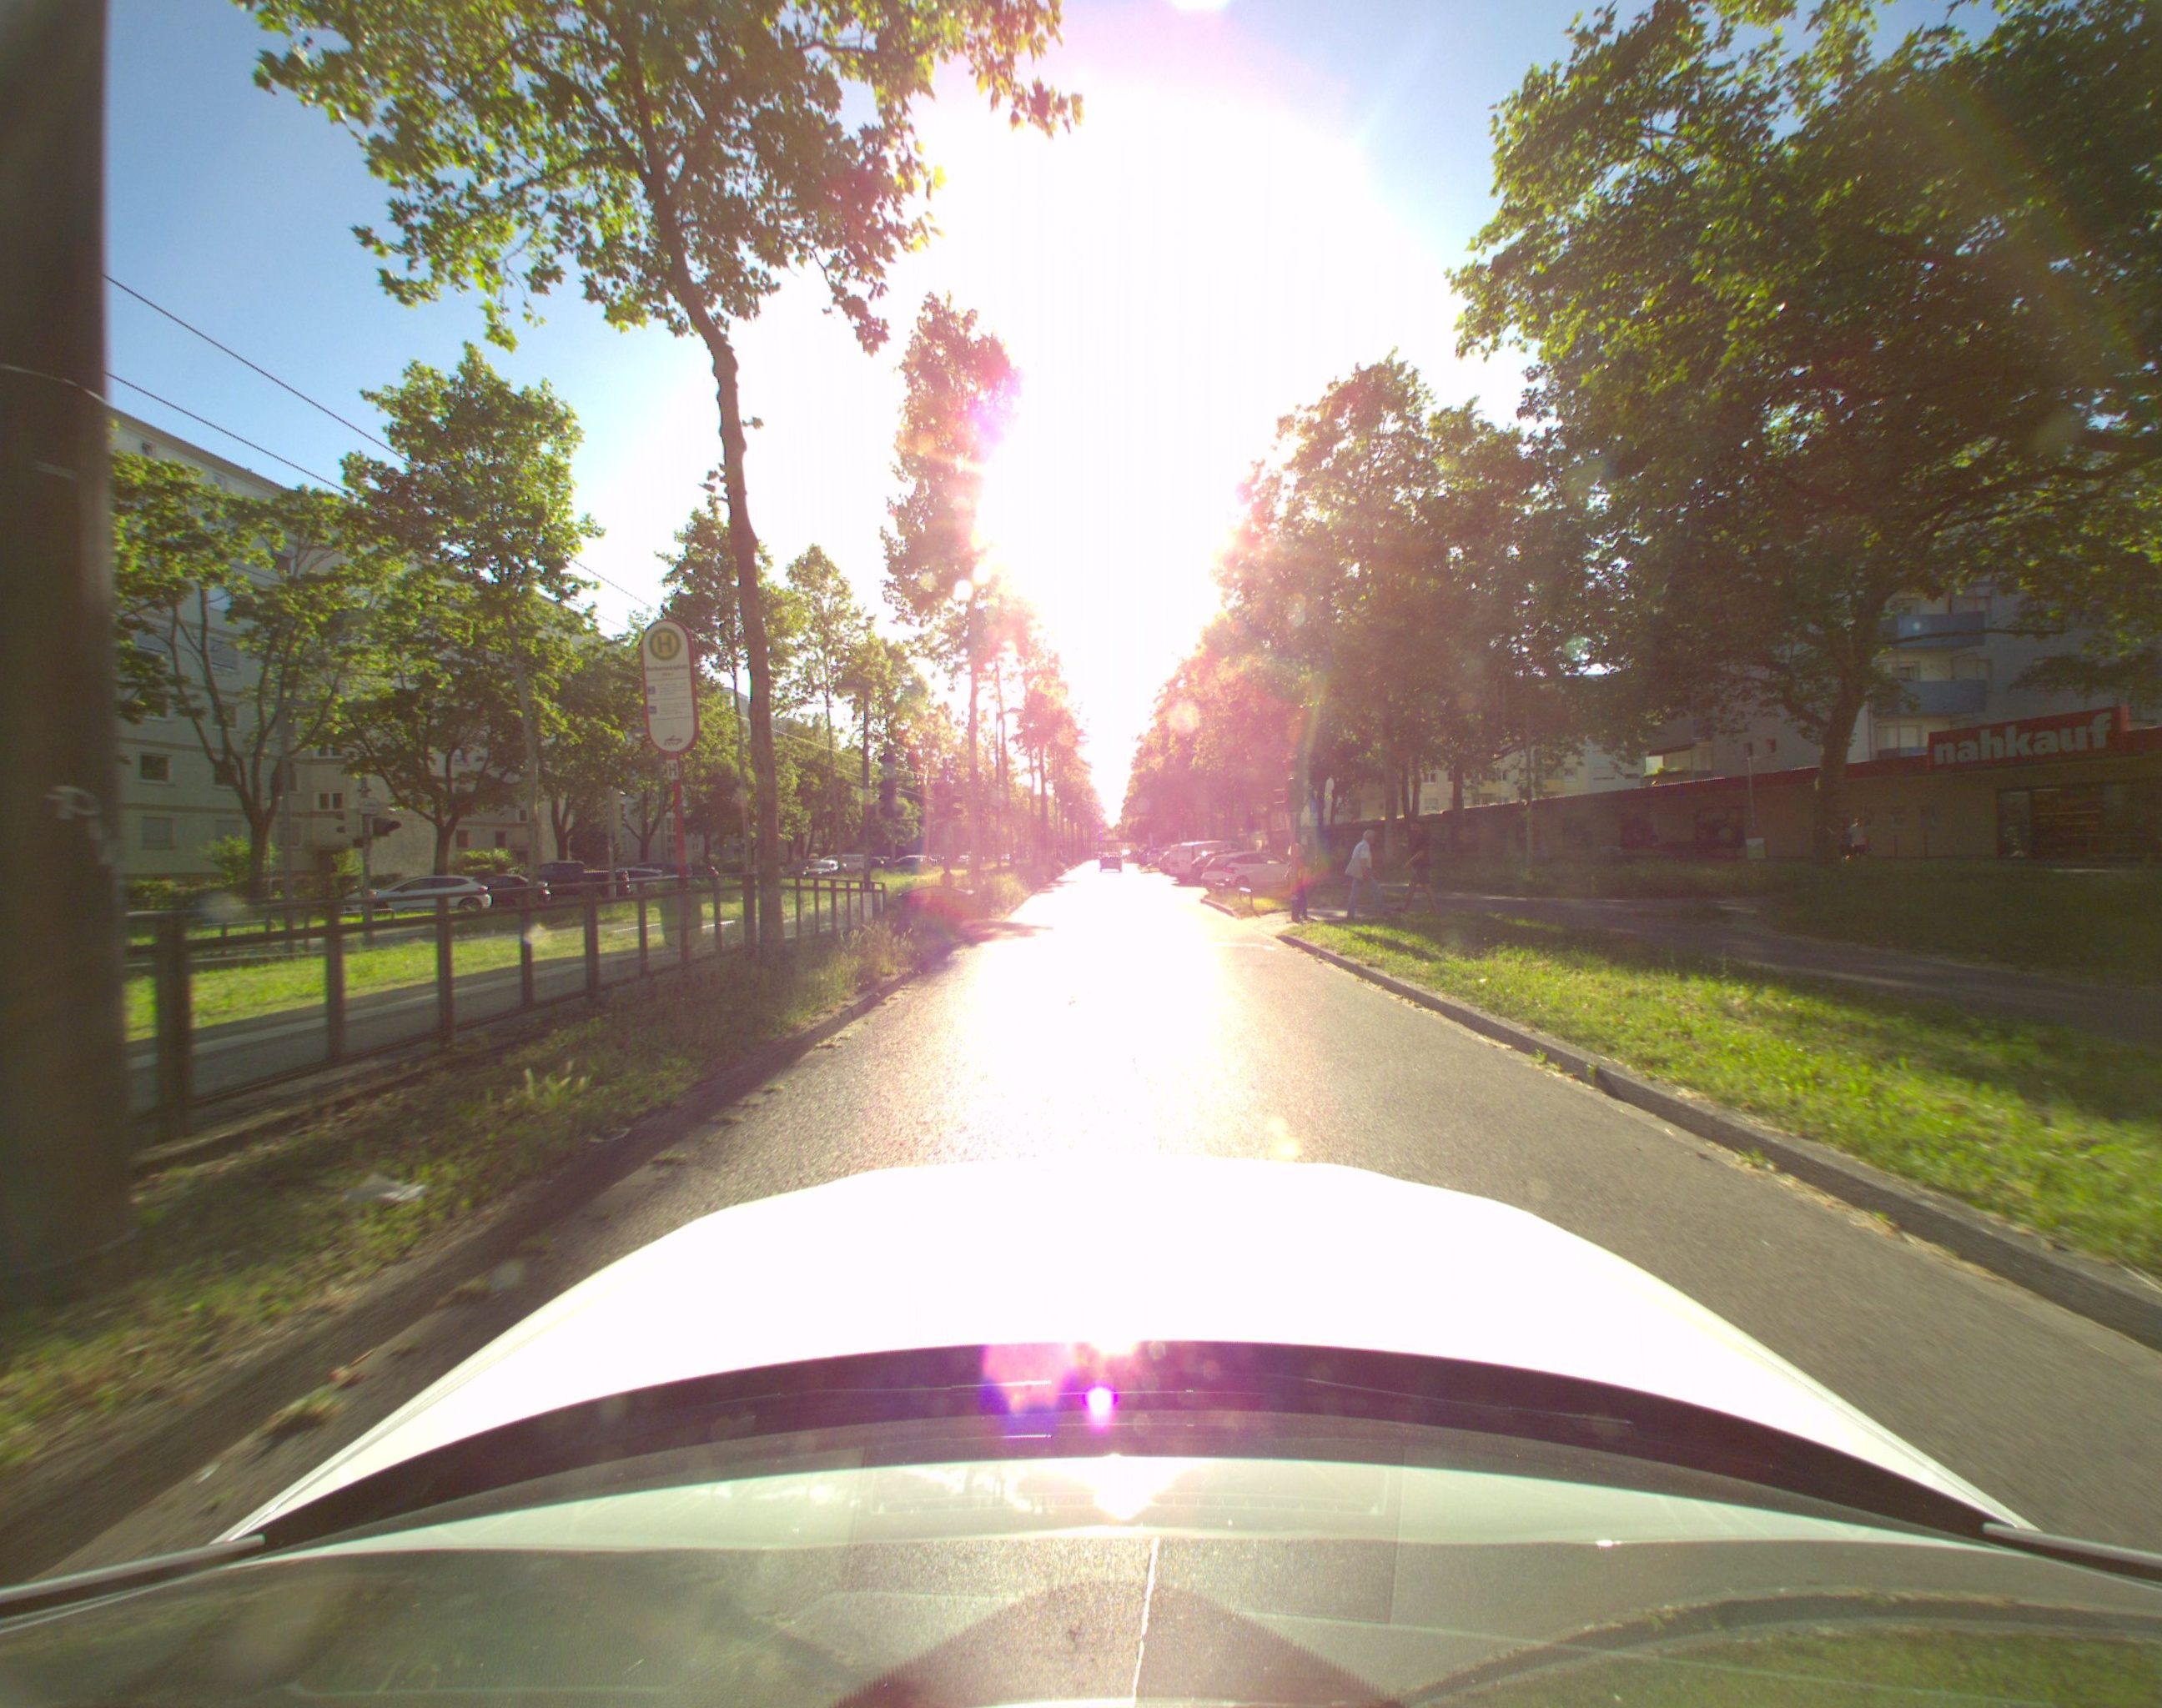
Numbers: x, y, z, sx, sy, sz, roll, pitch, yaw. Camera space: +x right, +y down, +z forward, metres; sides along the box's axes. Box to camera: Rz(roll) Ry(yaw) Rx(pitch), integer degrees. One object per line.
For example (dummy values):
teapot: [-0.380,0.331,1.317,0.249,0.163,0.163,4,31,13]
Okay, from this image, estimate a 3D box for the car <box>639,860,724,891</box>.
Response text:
car: [-23.130,1.236,47.190,1.631,1.475,4.110,4,5,44]

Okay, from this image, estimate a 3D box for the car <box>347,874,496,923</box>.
car: [-23.385,1.520,28.952,1.817,1.435,3.849,-2,1,42]

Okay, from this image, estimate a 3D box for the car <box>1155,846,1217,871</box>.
car: [6.977,0.310,53.766,4.208,1.412,1.699,-3,0,-42]

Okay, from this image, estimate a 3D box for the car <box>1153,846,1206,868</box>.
car: [7.106,0.219,58.483,3.961,1.373,1.568,-3,0,-42]

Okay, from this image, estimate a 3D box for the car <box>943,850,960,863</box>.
car: [-21.650,0.403,136.248,1.638,2.093,4.919,1,0,3]

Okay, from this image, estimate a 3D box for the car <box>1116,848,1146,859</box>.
car: [7.425,-0.063,120.966,4.519,1.443,1.834,-3,0,-42]

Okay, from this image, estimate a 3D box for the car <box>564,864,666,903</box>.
car: [-22.894,1.422,40.126,4.107,1.646,1.632,-2,2,-40]

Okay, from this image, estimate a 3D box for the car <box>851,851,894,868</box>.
car: [-21.565,0.542,84.367,4.088,1.607,1.981,-2,2,-22]

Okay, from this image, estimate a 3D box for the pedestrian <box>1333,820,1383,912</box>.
pedestrian: [5.321,0.225,15.699,0.835,1.722,0.834,-2,0,16]

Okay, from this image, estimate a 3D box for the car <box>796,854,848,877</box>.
car: [-17.589,0.763,55.544,1.985,1.389,4.172,-2,0,3]

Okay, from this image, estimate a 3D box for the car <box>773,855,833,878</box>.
car: [-21.919,0.967,64.295,4.107,1.646,1.632,-2,-1,-40]

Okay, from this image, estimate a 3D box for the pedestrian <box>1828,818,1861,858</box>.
pedestrian: [27.921,-0.585,29.787,0.530,1.430,0.715,-2,1,-4]

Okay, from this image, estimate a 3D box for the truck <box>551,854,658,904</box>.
truck: [-21.629,1.103,37.022,4.101,1.770,1.638,1,15,-34]

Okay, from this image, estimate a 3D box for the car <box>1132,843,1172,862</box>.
car: [7.513,-0.184,86.172,4.106,1.811,1.632,-3,0,-39]

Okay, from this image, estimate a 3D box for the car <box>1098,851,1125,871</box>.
car: [2.306,0.496,62.371,1.915,1.411,4.001,-1,0,1]

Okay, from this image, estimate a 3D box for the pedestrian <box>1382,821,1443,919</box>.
pedestrian: [6.640,0.305,16.357,0.795,1.885,0.928,-2,0,0]

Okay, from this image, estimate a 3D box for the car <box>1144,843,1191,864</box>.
car: [7.720,-0.047,72.394,4.049,1.705,1.740,-3,0,-40]

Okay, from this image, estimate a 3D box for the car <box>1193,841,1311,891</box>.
car: [6.252,0.421,29.663,4.011,1.469,1.744,-4,1,-30]

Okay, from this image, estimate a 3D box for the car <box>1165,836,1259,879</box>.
car: [6.444,0.138,39.890,4.694,1.853,1.809,-3,0,-39]

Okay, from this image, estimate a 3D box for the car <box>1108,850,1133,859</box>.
car: [7.202,0.017,149.063,4.651,1.459,1.955,-2,0,-45]

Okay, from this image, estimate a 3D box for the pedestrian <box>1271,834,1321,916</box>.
pedestrian: [4.698,0.451,17.804,0.715,1.706,0.647,-3,0,-33]

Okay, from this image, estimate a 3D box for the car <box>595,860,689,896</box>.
car: [-23.355,1.245,43.408,4.109,1.645,1.631,-3,3,-45]

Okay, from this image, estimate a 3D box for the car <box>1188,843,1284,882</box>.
car: [6.907,0.363,36.144,4.014,1.429,1.780,-5,1,-33]

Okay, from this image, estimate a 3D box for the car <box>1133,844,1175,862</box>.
car: [6.805,-0.072,75.563,3.809,1.470,1.631,-3,0,-42]

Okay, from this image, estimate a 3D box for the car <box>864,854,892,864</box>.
car: [-36.812,0.913,147.808,4.511,1.568,1.774,-2,0,-42]

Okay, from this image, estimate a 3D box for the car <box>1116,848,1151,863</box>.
car: [6.488,0.138,100.382,4.341,1.717,1.617,-2,0,-38]

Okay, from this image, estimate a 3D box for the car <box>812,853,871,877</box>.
car: [-22.014,0.999,74.941,4.821,2.006,1.871,-2,2,-37]

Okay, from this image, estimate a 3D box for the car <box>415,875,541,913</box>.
car: [-23.828,1.540,32.228,3.846,1.246,1.819,-2,1,-41]

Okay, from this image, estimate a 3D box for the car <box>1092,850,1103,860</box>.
car: [2.831,0.193,140.163,1.842,1.535,3.868,-2,0,2]

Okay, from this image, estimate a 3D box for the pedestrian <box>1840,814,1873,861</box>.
pedestrian: [28.491,-0.593,29.933,0.494,1.700,0.715,-2,1,-4]
